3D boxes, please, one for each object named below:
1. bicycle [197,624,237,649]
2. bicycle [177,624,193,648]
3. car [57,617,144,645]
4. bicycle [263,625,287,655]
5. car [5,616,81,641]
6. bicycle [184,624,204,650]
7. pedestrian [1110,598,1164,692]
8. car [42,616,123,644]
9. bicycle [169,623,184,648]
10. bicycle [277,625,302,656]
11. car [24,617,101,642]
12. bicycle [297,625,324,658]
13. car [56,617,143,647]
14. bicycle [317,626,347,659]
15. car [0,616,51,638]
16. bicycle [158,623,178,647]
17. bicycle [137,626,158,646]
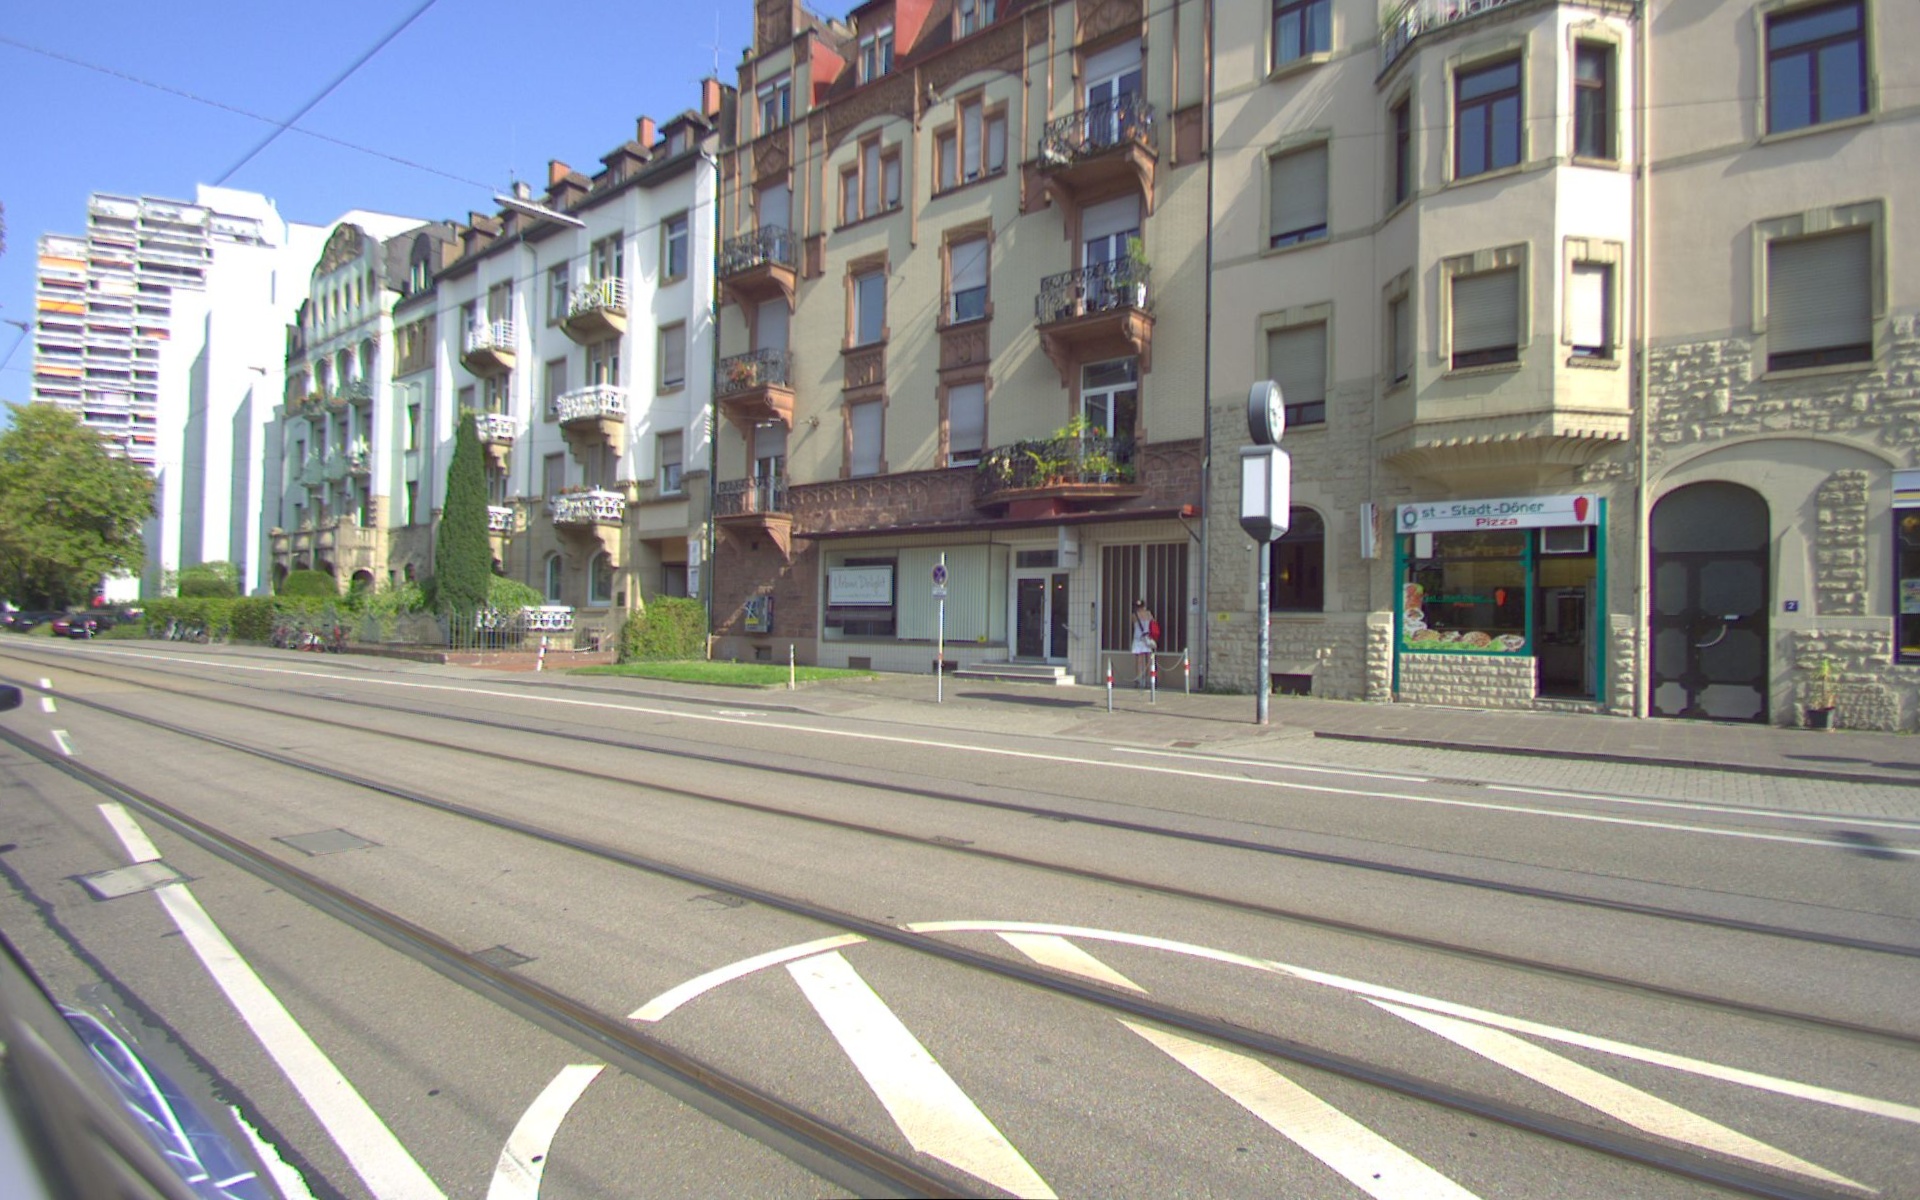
[{"bbox_3d":[-32.525,1.599,44.315,0.423,1.096,1.386,0,-2,22],"label":"bicycle"},{"bbox_3d":[-35.191,1.630,45.952,0.419,1.096,1.679,3,-3,-41],"label":"bicycle"},{"bbox_3d":[-49.337,1.768,58.194,1.745,1.539,4.004,1,-2,-5],"label":"car"},{"bbox_3d":[-25.878,1.495,38.226,1.354,1.096,0.366,-1,-3,39],"label":"bicycle"},{"bbox_3d":[-59.854,1.856,66.110,1.744,1.539,4.008,1,-2,-9],"label":"car"},{"bbox_3d":[-33.683,1.620,44.488,1.677,1.096,0.419,-1,-3,44],"label":"bicycle"},{"bbox_3d":[3.632,0.907,20.775,0.829,1.874,0.766,-1,-2,38],"label":"pedestrian"},{"bbox_3d":[-51.729,1.788,59.758,1.744,1.539,4.008,1,-2,-9],"label":"car"},{"bbox_3d":[-35.905,1.622,46.358,0.419,1.096,1.679,3,-3,-41],"label":"bicycle"},{"bbox_3d":[-24.556,1.467,37.049,1.354,1.096,0.366,-1,-3,39],"label":"bicycle"},{"bbox_3d":[-57.315,1.873,64.707,1.744,1.539,4.008,1,-2,-9],"label":"car"},{"bbox_3d":[-22.553,1.439,35.145,1.354,1.096,0.366,-1,-3,39],"label":"bicycle"},{"bbox_3d":[-46.879,1.747,55.224,1.744,1.539,4.008,1,-2,-9],"label":"car"},{"bbox_3d":[-21.141,1.432,34.070,1.486,1.096,0.366,-1,-3,40],"label":"bicycle"},{"bbox_3d":[-66.771,1.901,71.621,1.744,1.539,4.008,1,-2,-9],"label":"car"},{"bbox_3d":[-37.365,1.642,47.745,1.676,1.096,0.420,-1,-3,42],"label":"bicycle"},{"bbox_3d":[-39.989,1.766,49.795,1.768,0.985,0.420,-1,-3,39],"label":"bicycle"}]
